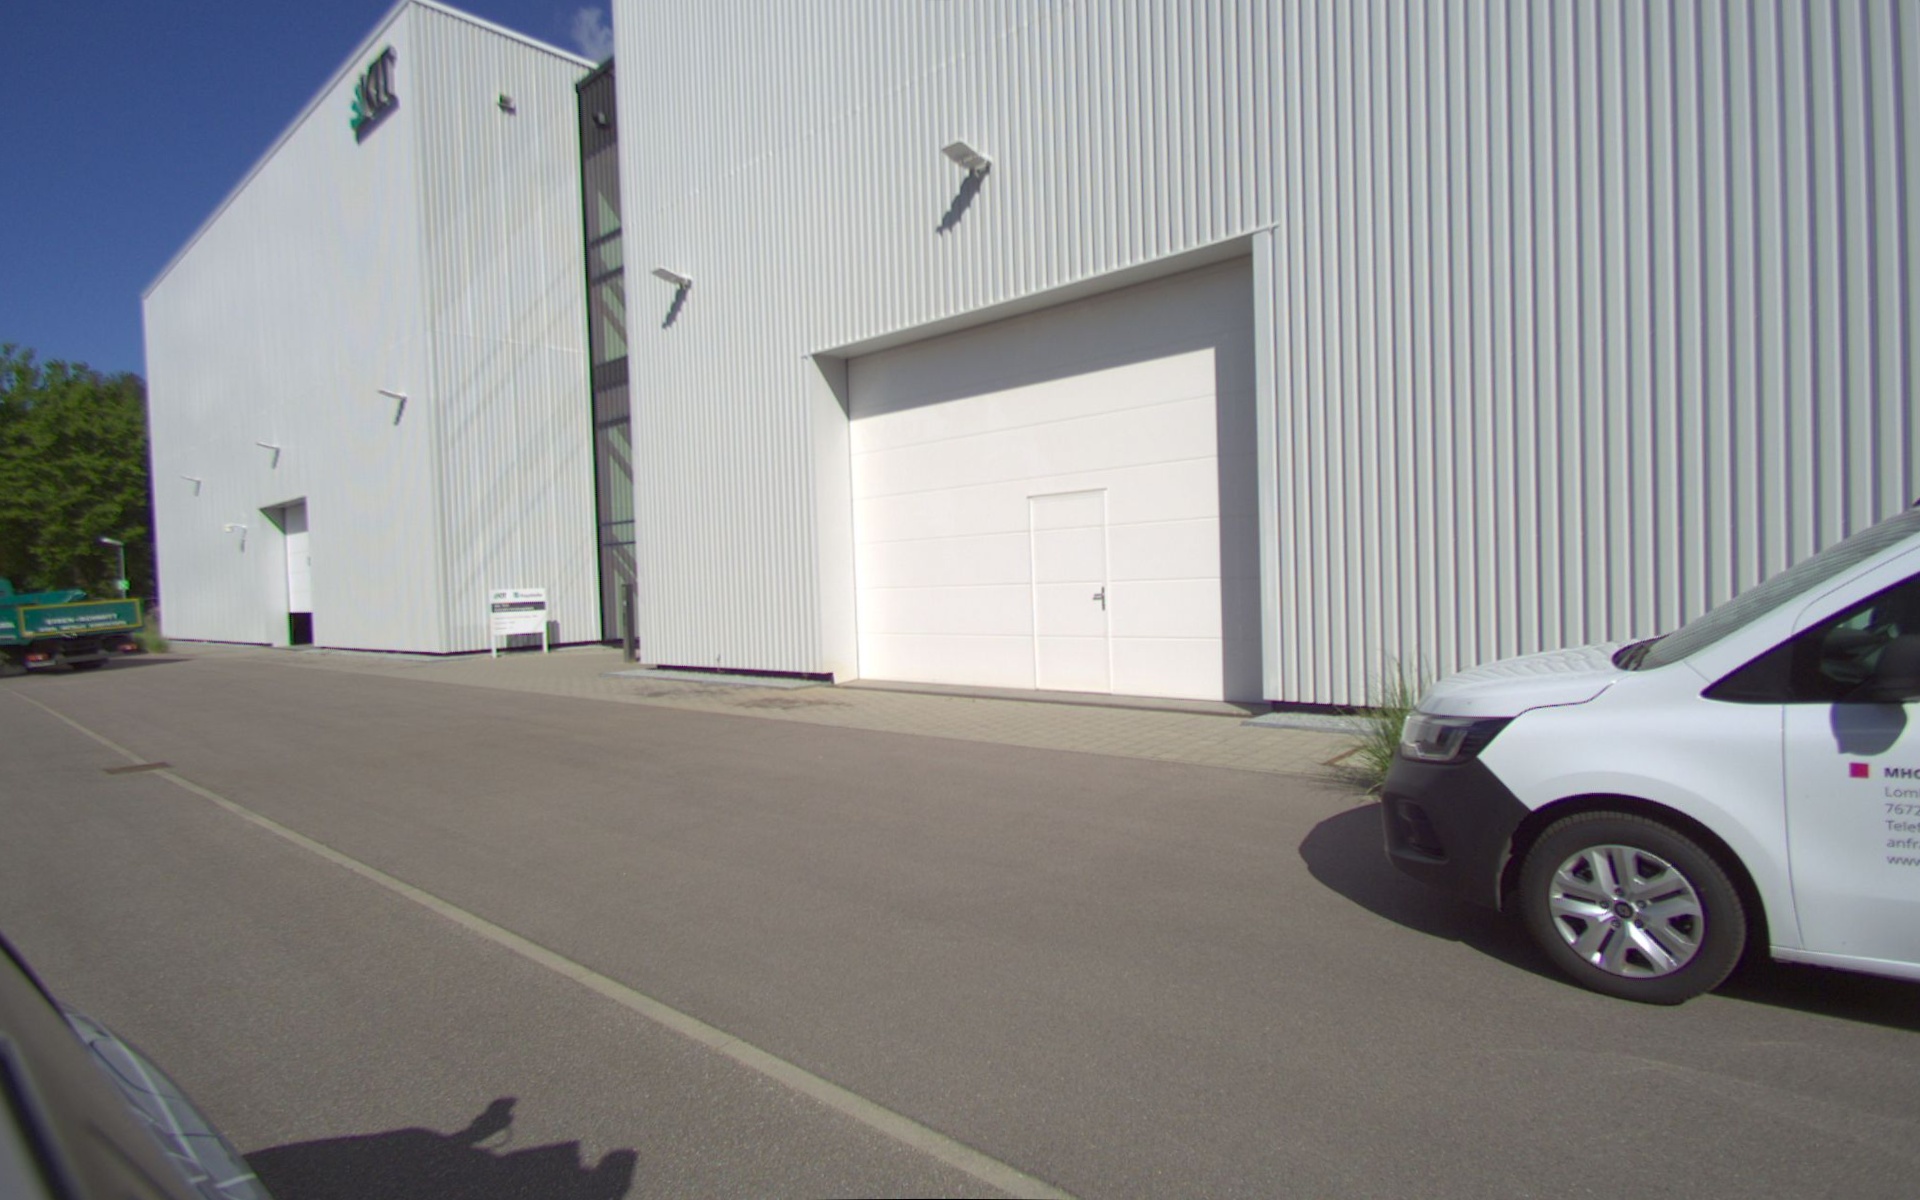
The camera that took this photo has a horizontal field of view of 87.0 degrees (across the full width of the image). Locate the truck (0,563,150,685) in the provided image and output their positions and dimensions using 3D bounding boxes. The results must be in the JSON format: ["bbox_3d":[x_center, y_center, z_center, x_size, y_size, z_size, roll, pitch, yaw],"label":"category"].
[{"bbox_3d":[-25.535,0.672,27.038,9.655,2.736,2.564,-2,3,30],"label":"truck"}]

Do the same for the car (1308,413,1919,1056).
[{"bbox_3d":[3.731,0.319,3.140,4.597,1.803,1.908,-1,2,42],"label":"car"}]
